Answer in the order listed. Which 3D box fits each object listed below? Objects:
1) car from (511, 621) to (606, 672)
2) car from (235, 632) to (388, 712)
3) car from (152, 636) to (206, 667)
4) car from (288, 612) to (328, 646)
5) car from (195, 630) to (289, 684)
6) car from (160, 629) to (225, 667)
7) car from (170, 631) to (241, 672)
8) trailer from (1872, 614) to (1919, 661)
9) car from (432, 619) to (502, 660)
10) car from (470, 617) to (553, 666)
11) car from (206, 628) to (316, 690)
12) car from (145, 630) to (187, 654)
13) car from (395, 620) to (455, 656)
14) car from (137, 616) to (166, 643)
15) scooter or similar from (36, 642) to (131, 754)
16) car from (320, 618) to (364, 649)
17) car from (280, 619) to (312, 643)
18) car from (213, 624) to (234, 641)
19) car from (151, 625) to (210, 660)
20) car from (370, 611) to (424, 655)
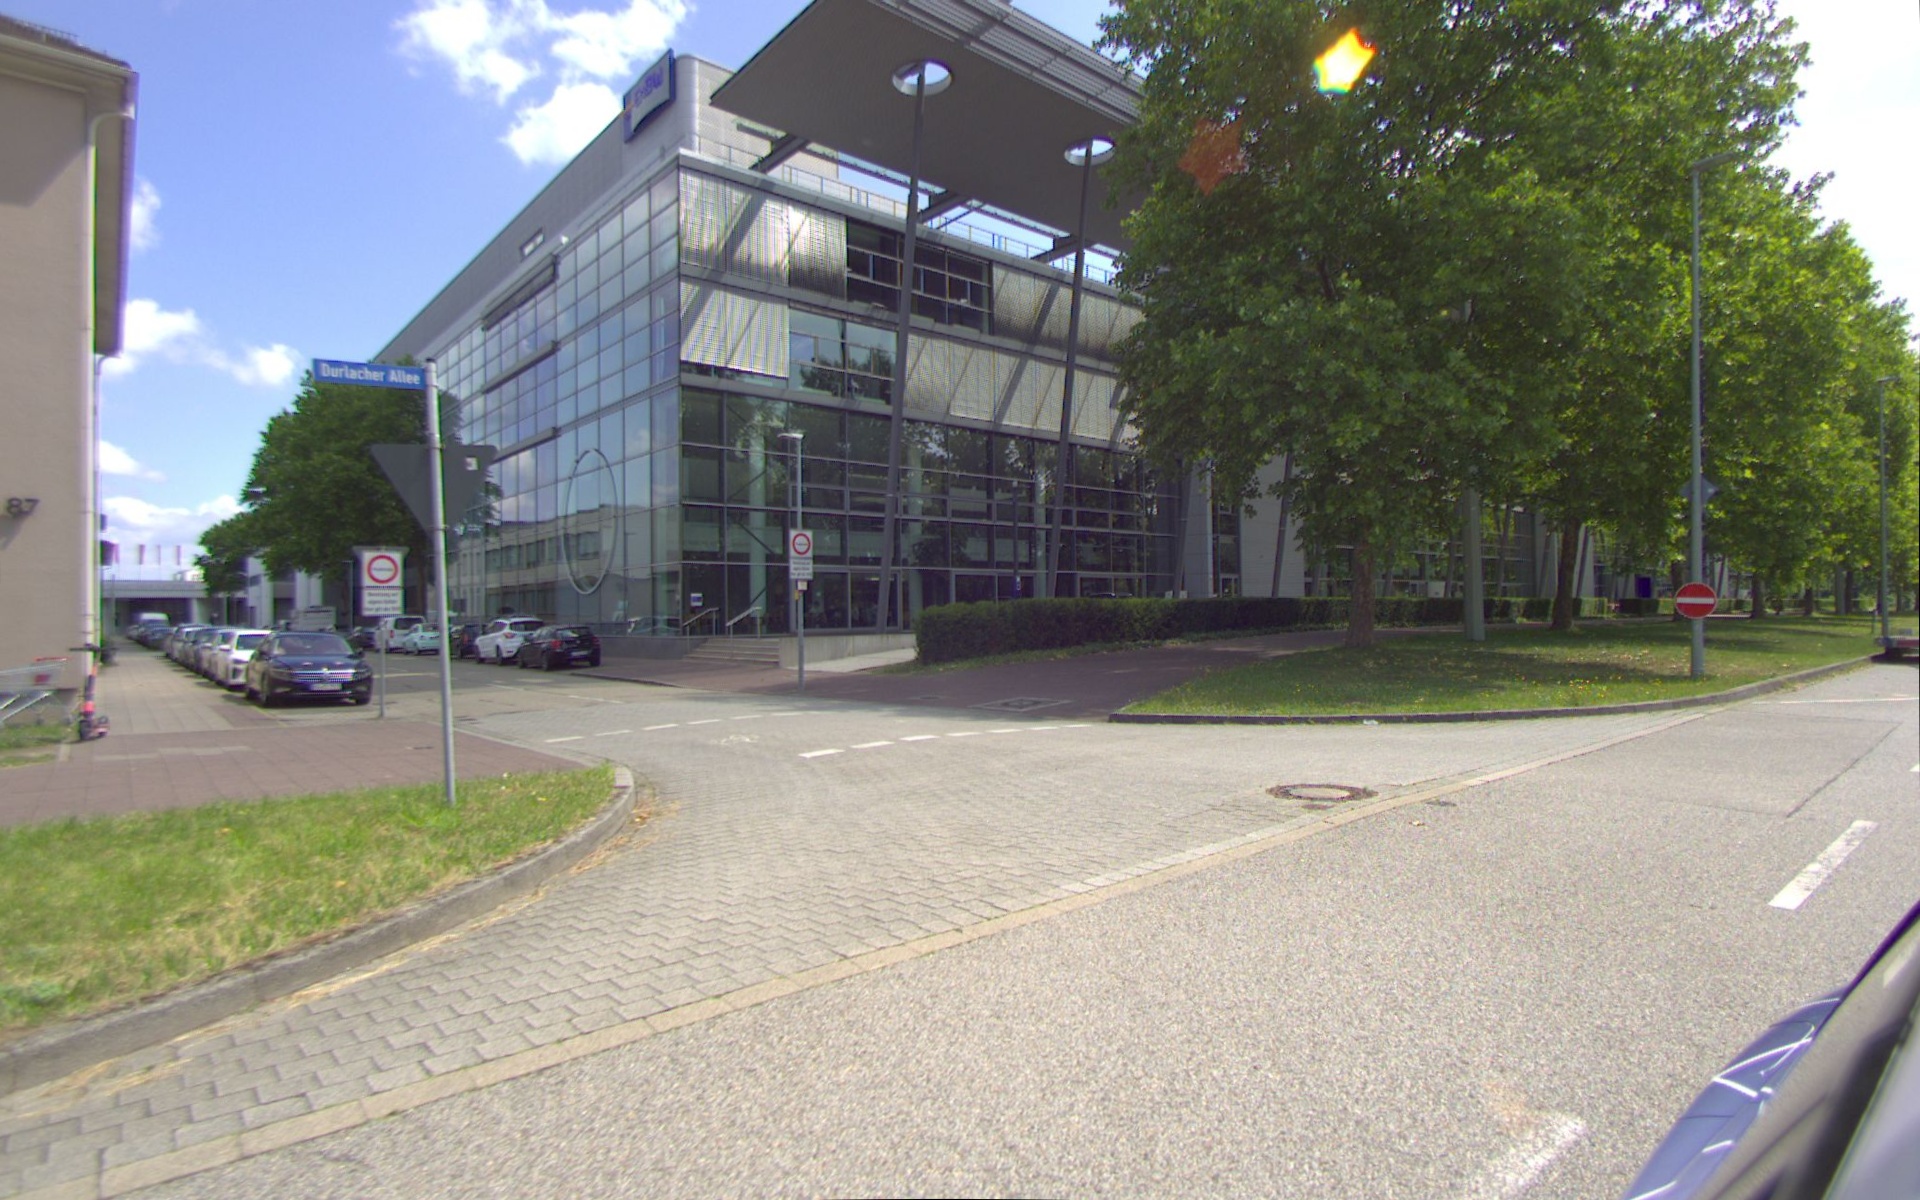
[{"bbox_3d":[-13.402,1.493,33.629,1.786,1.435,3.995,-5,2,-38],"label":"car"},{"bbox_3d":[-13.414,1.398,20.822,1.966,1.371,4.457,-1,-1,-42],"label":"car"},{"bbox_3d":[-38.361,2.508,49.682,1.830,1.465,4.063,3,-3,-41],"label":"car"},{"bbox_3d":[-48.182,2.136,74.761,1.959,2.335,4.597,-3,0,-38],"label":"car"},{"bbox_3d":[-21.098,1.633,29.681,1.830,1.465,4.063,3,-3,-41],"label":"car"},{"bbox_3d":[-31.371,1.948,41.319,1.830,1.465,4.063,3,-3,-41],"label":"car"},{"bbox_3d":[-28.269,1.894,37.873,1.830,1.465,4.063,3,-3,-41],"label":"car"},{"bbox_3d":[23.720,0.844,23.960,6.700,0.838,2.301,-1,0,-40],"label":"trailer"},{"bbox_3d":[-20.921,1.649,42.857,1.786,1.567,3.995,-3,0,-38],"label":"car"},{"bbox_3d":[-16.662,1.501,37.488,1.786,1.567,3.995,-5,2,-38],"label":"car"},{"bbox_3d":[-18.027,1.472,26.025,1.830,1.465,4.306,3,-3,-41],"label":"car"},{"bbox_3d":[-49.739,2.625,63.344,1.830,1.465,4.063,3,-3,-41],"label":"car"},{"bbox_3d":[-25.652,1.788,48.487,1.786,1.567,3.995,-3,0,-38],"label":"car"},{"bbox_3d":[-66.489,2.407,83.257,1.785,2.061,3.995,-2,0,-38],"label":"car"},{"bbox_3d":[-11.338,1.225,13.134,0.536,1.320,1.446,-1,-1,-25],"label":"scooter or similar"},{"bbox_3d":[-38.473,2.075,62.933,1.786,1.794,3.995,-3,1,-38],"label":"car"},{"bbox_3d":[-54.216,2.539,82.586,1.786,1.794,3.995,-3,1,-38],"label":"car"},{"bbox_3d":[-87.780,3.857,120.597,1.786,1.794,3.995,-3,1,-38],"label":"car"},{"bbox_3d":[-34.945,1.896,45.358,1.830,1.465,4.063,3,-3,-41],"label":"car"},{"bbox_3d":[-29.374,1.701,52.784,1.785,2.108,3.995,-2,0,-38],"label":"car"}]
